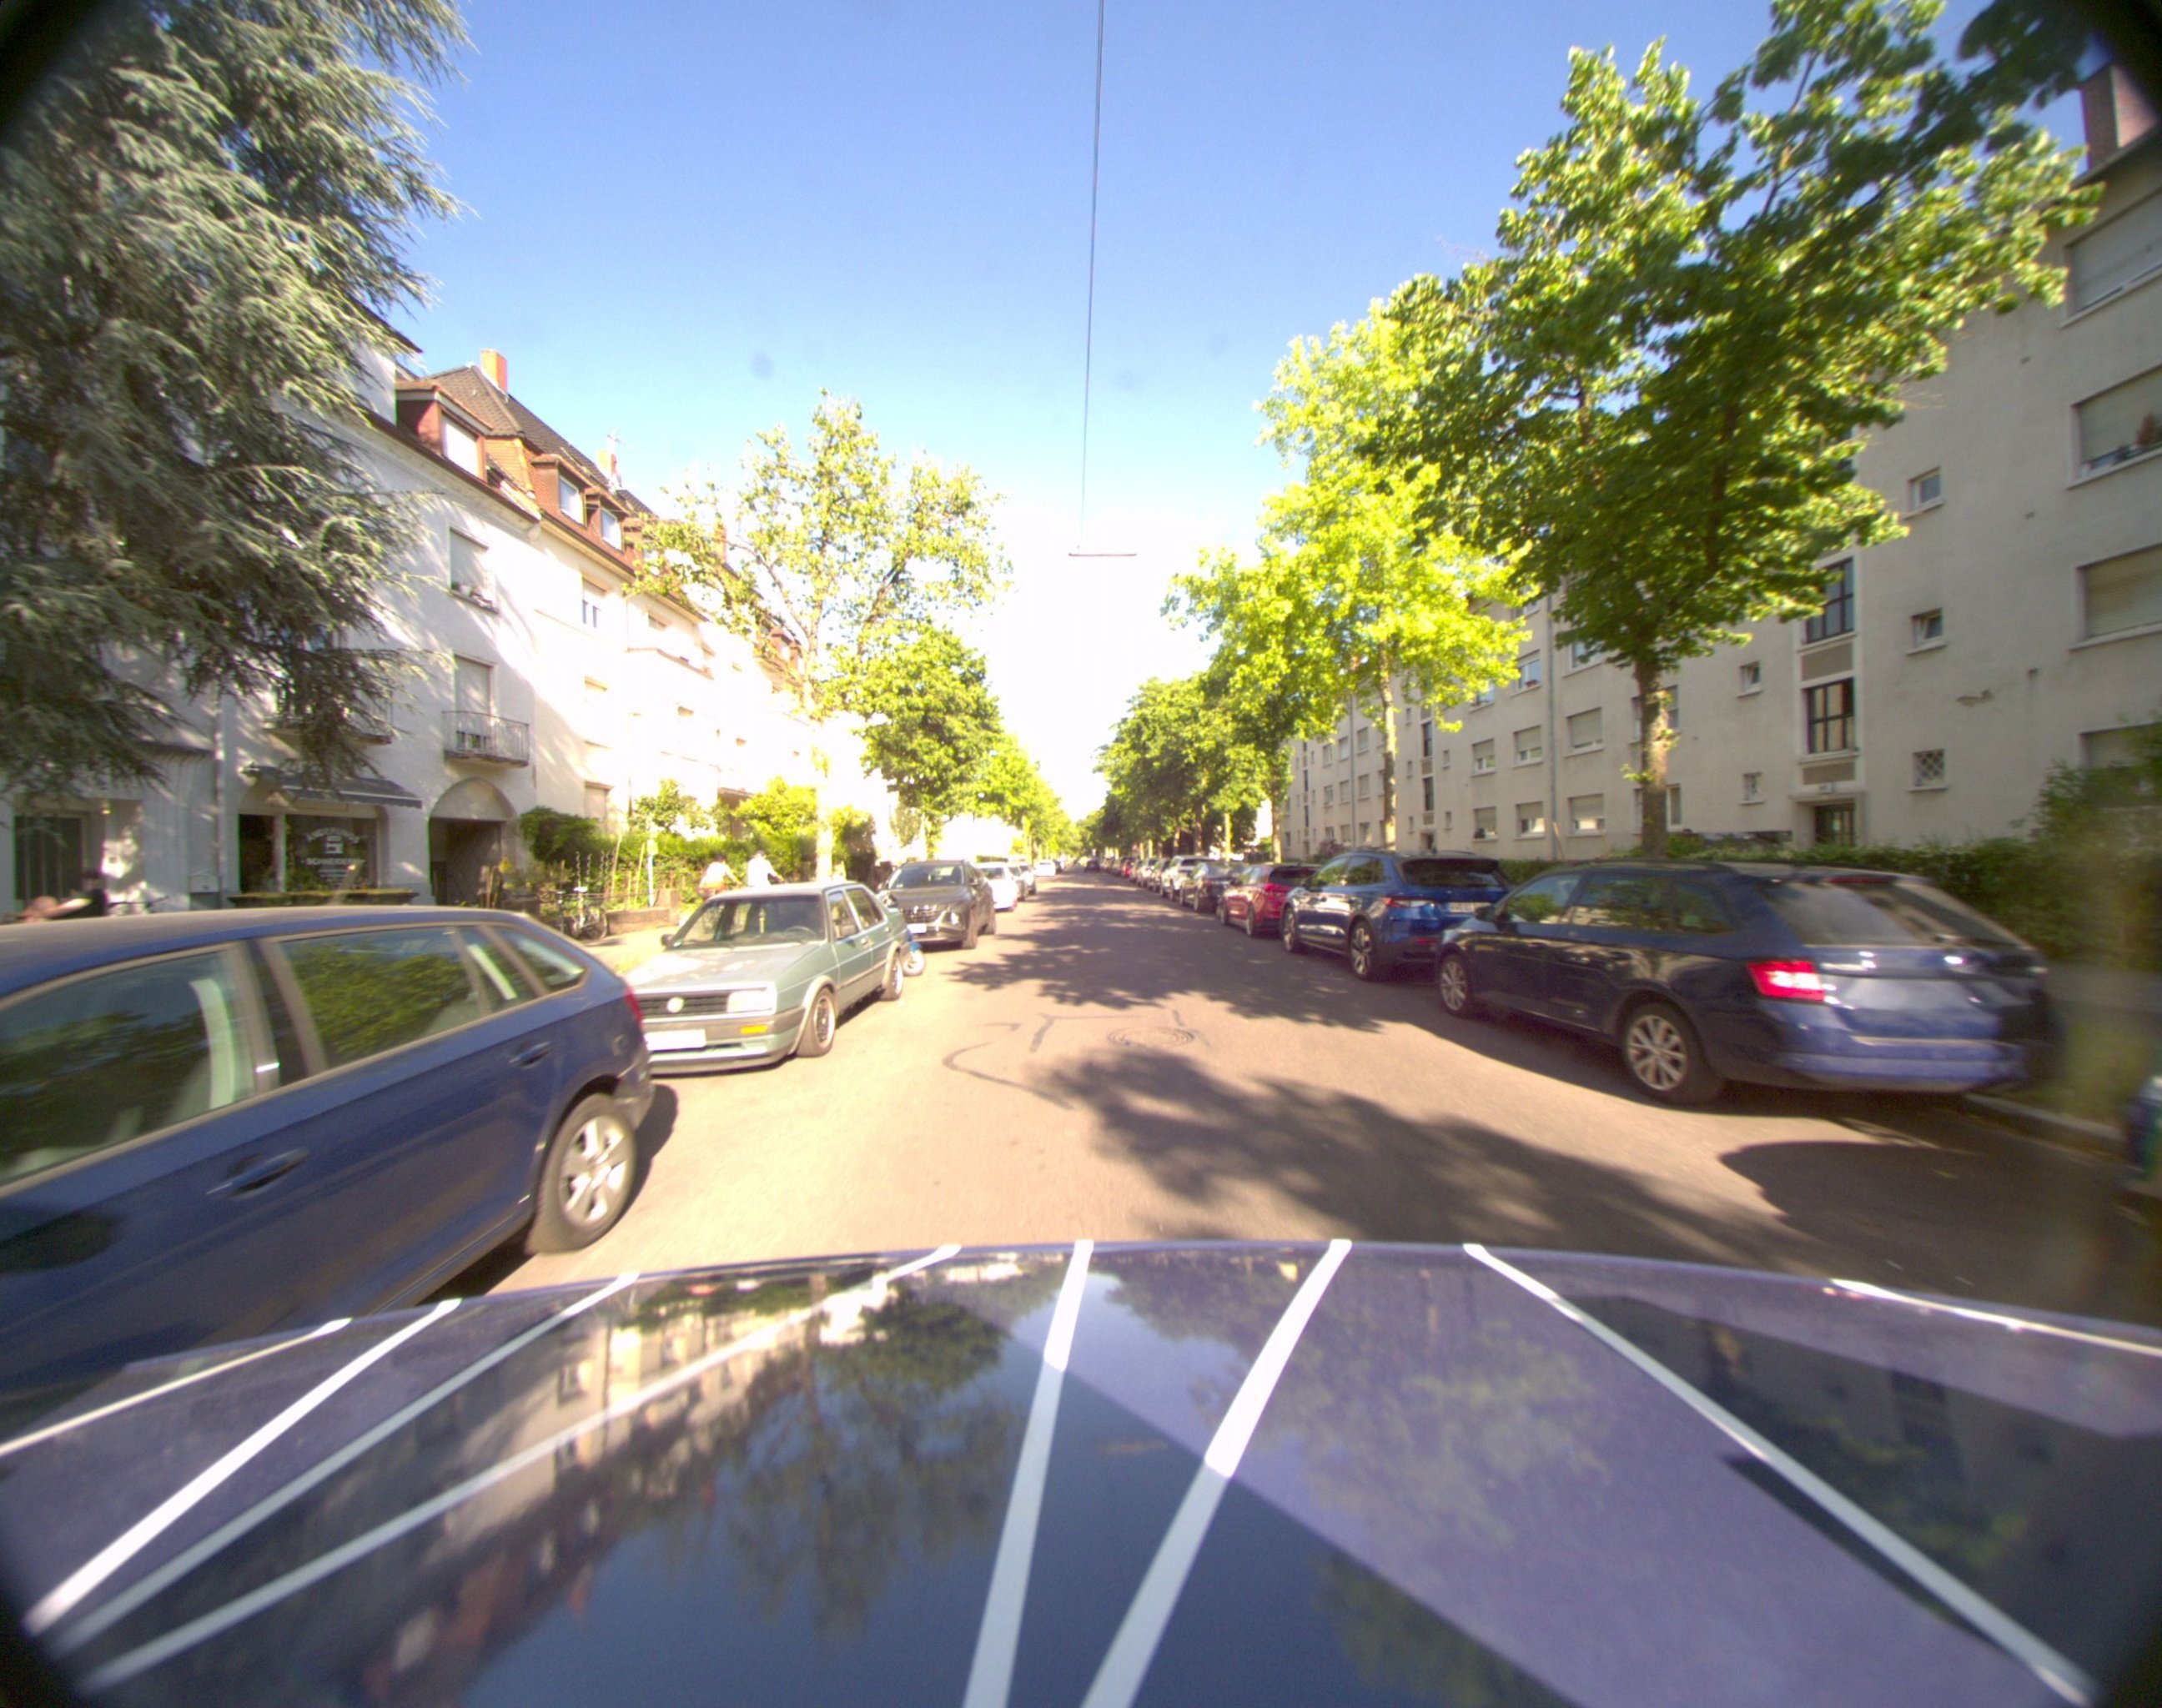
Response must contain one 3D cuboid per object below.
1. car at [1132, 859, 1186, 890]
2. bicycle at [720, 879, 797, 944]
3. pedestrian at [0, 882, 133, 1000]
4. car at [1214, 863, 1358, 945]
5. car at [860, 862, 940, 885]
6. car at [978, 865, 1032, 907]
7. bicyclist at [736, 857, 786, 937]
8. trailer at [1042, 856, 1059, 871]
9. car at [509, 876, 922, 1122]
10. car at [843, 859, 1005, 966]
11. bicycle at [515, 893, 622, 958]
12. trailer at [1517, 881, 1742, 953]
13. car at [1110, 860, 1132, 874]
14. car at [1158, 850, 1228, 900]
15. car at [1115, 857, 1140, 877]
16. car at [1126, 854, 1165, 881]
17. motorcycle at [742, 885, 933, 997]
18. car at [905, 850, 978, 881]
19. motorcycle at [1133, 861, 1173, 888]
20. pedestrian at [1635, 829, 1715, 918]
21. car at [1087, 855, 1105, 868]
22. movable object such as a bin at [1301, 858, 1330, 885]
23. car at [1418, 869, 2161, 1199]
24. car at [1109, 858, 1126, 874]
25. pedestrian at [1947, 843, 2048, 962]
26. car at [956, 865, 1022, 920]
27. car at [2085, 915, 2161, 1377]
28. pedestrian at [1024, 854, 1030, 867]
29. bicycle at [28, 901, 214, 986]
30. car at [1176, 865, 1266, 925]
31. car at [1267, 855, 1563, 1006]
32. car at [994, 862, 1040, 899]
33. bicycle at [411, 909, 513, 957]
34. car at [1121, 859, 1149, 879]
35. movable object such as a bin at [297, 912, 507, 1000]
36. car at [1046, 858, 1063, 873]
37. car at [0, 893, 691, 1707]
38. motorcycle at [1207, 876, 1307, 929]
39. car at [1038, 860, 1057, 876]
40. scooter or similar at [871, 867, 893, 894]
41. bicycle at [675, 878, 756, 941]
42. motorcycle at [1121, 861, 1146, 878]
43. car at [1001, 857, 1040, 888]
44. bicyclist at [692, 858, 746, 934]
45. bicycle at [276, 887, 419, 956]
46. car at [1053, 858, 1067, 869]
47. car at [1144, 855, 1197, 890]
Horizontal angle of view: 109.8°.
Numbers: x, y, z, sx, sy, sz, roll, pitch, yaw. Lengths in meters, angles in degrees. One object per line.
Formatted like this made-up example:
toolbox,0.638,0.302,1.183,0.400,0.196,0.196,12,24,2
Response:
car,4.014,1.032,39.728,2.070,1.515,4.720,0,0,-3
bicycle,-6.585,1.131,15.643,0.685,1.146,2.402,0,0,-4
pedestrian,-10.654,0.883,7.939,0.511,1.136,0.756,-1,1,1
car,4.022,0.916,15.641,1.784,1.371,4.262,1,0,0
car,-11.860,1.278,49.951,4.725,1.461,1.955,-1,0,14
car,-2.930,1.210,30.136,1.715,1.402,4.861,-2,0,-2
bicyclist,-6.585,0.859,15.669,0.679,1.600,0.921,0,0,-4
trailer,-3.395,1.096,85.760,1.578,1.569,3.192,-3,0,2
car,-2.907,1.034,7.311,1.755,1.445,4.462,-3,0,0
car,-2.791,0.970,14.828,1.930,1.642,5.095,-3,0,1
bicycle,-9.014,1.228,13.456,0.582,0.969,1.903,0,0,1
trailer,9.741,1.065,13.831,1.793,1.028,3.281,-1,0,2
car,3.993,1.272,75.954,1.790,1.344,4.481,0,0,-2
car,3.959,0.689,27.569,1.733,1.608,4.365,-2,0,-1
car,3.936,1.075,65.287,1.772,1.678,4.813,0,0,-1
car,3.945,0.798,47.428,2.048,1.515,4.605,-2,1,1
motorcycle,-3.263,1.160,10.348,2.358,1.414,0.687,-1,0,-1
car,-10.623,0.851,57.772,5.063,2.292,2.230,0,0,-24
motorcycle,4.139,1.145,43.707,0.992,1.495,2.227,0,0,-40
pedestrian,12.953,0.415,16.597,0.935,1.877,1.026,0,0,0
car,1.656,0.792,87.099,1.814,1.437,4.365,1,0,-2
movable object such as a bin,11.761,0.875,38.076,0.932,1.316,1.378,0,0,-6
car,4.333,0.882,5.582,1.834,1.444,4.122,0,0,-1
car,3.869,1.268,81.166,1.710,1.568,4.482,0,0,0
pedestrian,15.248,0.770,12.673,0.781,1.902,0.880,0,1,26
car,-2.875,1.164,24.410,1.658,1.523,3.968,-3,0,-2
car,4.317,0.938,0.620,1.766,1.435,3.908,1,0,-1
pedestrian,-9.036,1.076,126.382,0.907,2.002,1.006,0,0,0
bicycle,-13.156,1.207,10.438,1.901,1.094,0.583,0,0,3
car,4.033,1.130,22.638,1.733,1.469,4.619,3,0,0
car,4.135,0.834,10.357,1.794,1.557,4.464,2,0,-4
car,-2.890,1.170,35.125,1.826,1.461,4.908,-2,0,-2
bicycle,-10.387,1.316,12.767,1.366,0.752,0.471,0,0,3
car,4.135,1.150,59.029,1.861,1.461,4.182,0,0,0
movable object such as a bin,-8.814,1.279,9.951,1.222,0.899,1.667,0,0,20
car,-3.110,1.327,90.478,1.797,1.633,4.818,-3,0,-1
car,-2.866,0.973,1.670,1.697,1.531,4.441,-2,0,0
motorcycle,4.395,1.211,19.014,2.293,1.263,0.807,1,0,-11
car,-3.099,1.280,70.837,1.737,1.478,4.008,-1,0,-2
scooter or similar,-8.908,1.196,33.971,0.402,1.178,1.207,0,0,15
bicycle,-7.658,1.129,16.057,0.685,1.146,2.402,0,0,-4
motorcycle,4.306,1.255,62.334,1.957,1.324,0.788,0,0,7
car,-3.352,0.989,42.903,1.901,1.515,4.965,-1,1,-2
bicyclist,-7.660,0.866,16.113,0.678,1.544,1.021,0,0,-4
bicycle,-12.309,1.122,12.774,1.901,1.094,0.583,0,0,3
car,-3.074,1.404,110.698,1.786,1.509,4.685,-1,0,-4
car,4.004,0.793,34.657,1.733,1.438,4.820,2,0,-1
